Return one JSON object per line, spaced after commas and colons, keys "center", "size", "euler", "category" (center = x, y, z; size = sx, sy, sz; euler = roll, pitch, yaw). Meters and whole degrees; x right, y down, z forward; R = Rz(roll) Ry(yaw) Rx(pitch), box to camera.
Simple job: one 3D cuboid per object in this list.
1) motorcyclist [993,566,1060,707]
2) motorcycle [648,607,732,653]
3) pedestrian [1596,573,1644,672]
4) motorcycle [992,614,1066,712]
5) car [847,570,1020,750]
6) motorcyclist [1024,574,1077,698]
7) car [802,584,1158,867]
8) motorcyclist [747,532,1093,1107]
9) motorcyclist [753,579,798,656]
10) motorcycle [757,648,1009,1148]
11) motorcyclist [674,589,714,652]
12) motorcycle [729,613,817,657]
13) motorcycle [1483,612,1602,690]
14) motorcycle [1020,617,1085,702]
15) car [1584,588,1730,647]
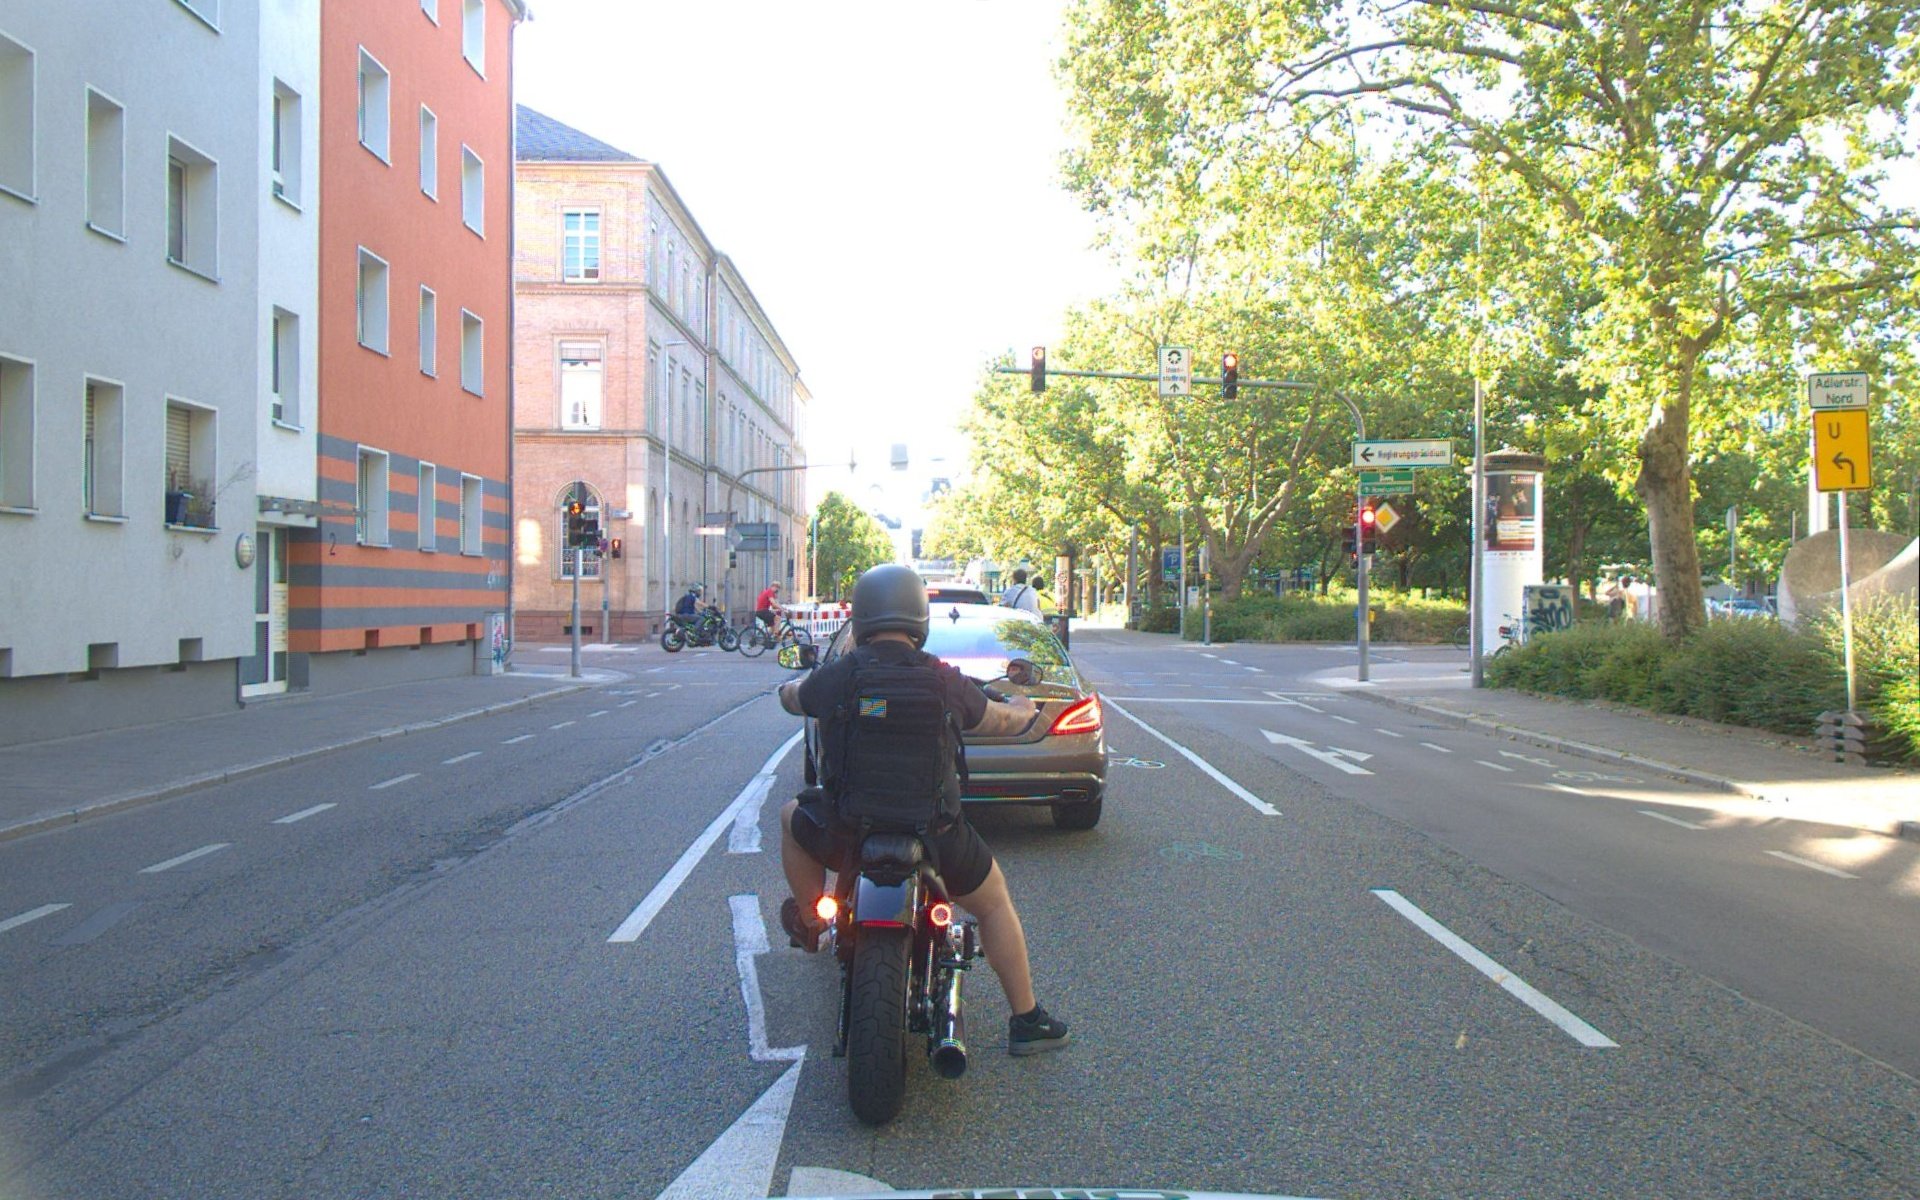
{"center": [0.868, 0.477, 21.949], "size": [0.814, 1.820, 0.913], "euler": [1, -1, -1], "category": "motorcyclist"}
{"center": [-6.783, 0.742, 41.486], "size": [2.044, 1.116, 0.626], "euler": [1, -1, -13], "category": "motorcycle"}
{"center": [12.496, 0.417, 31.311], "size": [0.634, 1.859, 0.667], "euler": [0, 0, -1], "category": "pedestrian"}
{"center": [0.878, 0.791, 21.512], "size": [0.845, 1.189, 1.929], "euler": [1, 0, -1], "category": "motorcycle"}
{"center": [-0.274, 0.580, 17.685], "size": [1.618, 1.681, 3.999], "euler": [1, 0, -1], "category": "car"}
{"center": [1.316, 0.513, 24.156], "size": [0.702, 1.773, 0.751], "euler": [1, -1, -1], "category": "motorcyclist"}
{"center": [-0.084, 0.689, 11.118], "size": [1.790, 1.512, 4.326], "euler": [1, 0, -7], "category": "car"}
{"center": [-0.122, 0.634, 5.318], "size": [0.970, 1.639, 1.120], "euler": [1, 0, -1], "category": "motorcyclist"}
{"center": [-4.280, 0.412, 38.432], "size": [0.964, 1.753, 0.550], "euler": [1, -1, 0], "category": "motorcyclist"}
{"center": [-0.217, 0.819, 5.408], "size": [0.646, 1.261, 2.057], "euler": [1, 0, -1], "category": "motorcycle"}
{"center": [-6.688, 0.505, 41.564], "size": [0.923, 1.564, 0.643], "euler": [1, -1, -12], "category": "motorcyclist"}
{"center": [-4.342, 0.801, 38.423], "size": [1.971, 0.979, 0.580], "euler": [1, 0, 0], "category": "motorcycle"}
{"center": [9.777, 0.843, 27.816], "size": [1.743, 1.265, 0.723], "euler": [1, 0, 4], "category": "motorcycle"}
{"center": [1.321, 0.838, 24.060], "size": [0.781, 1.151, 2.236], "euler": [1, 0, -1], "category": "motorcycle"}
{"center": [21.992, 0.546, 52.286], "size": [3.907, 1.803, 1.737], "euler": [0, 0, -3], "category": "car"}
